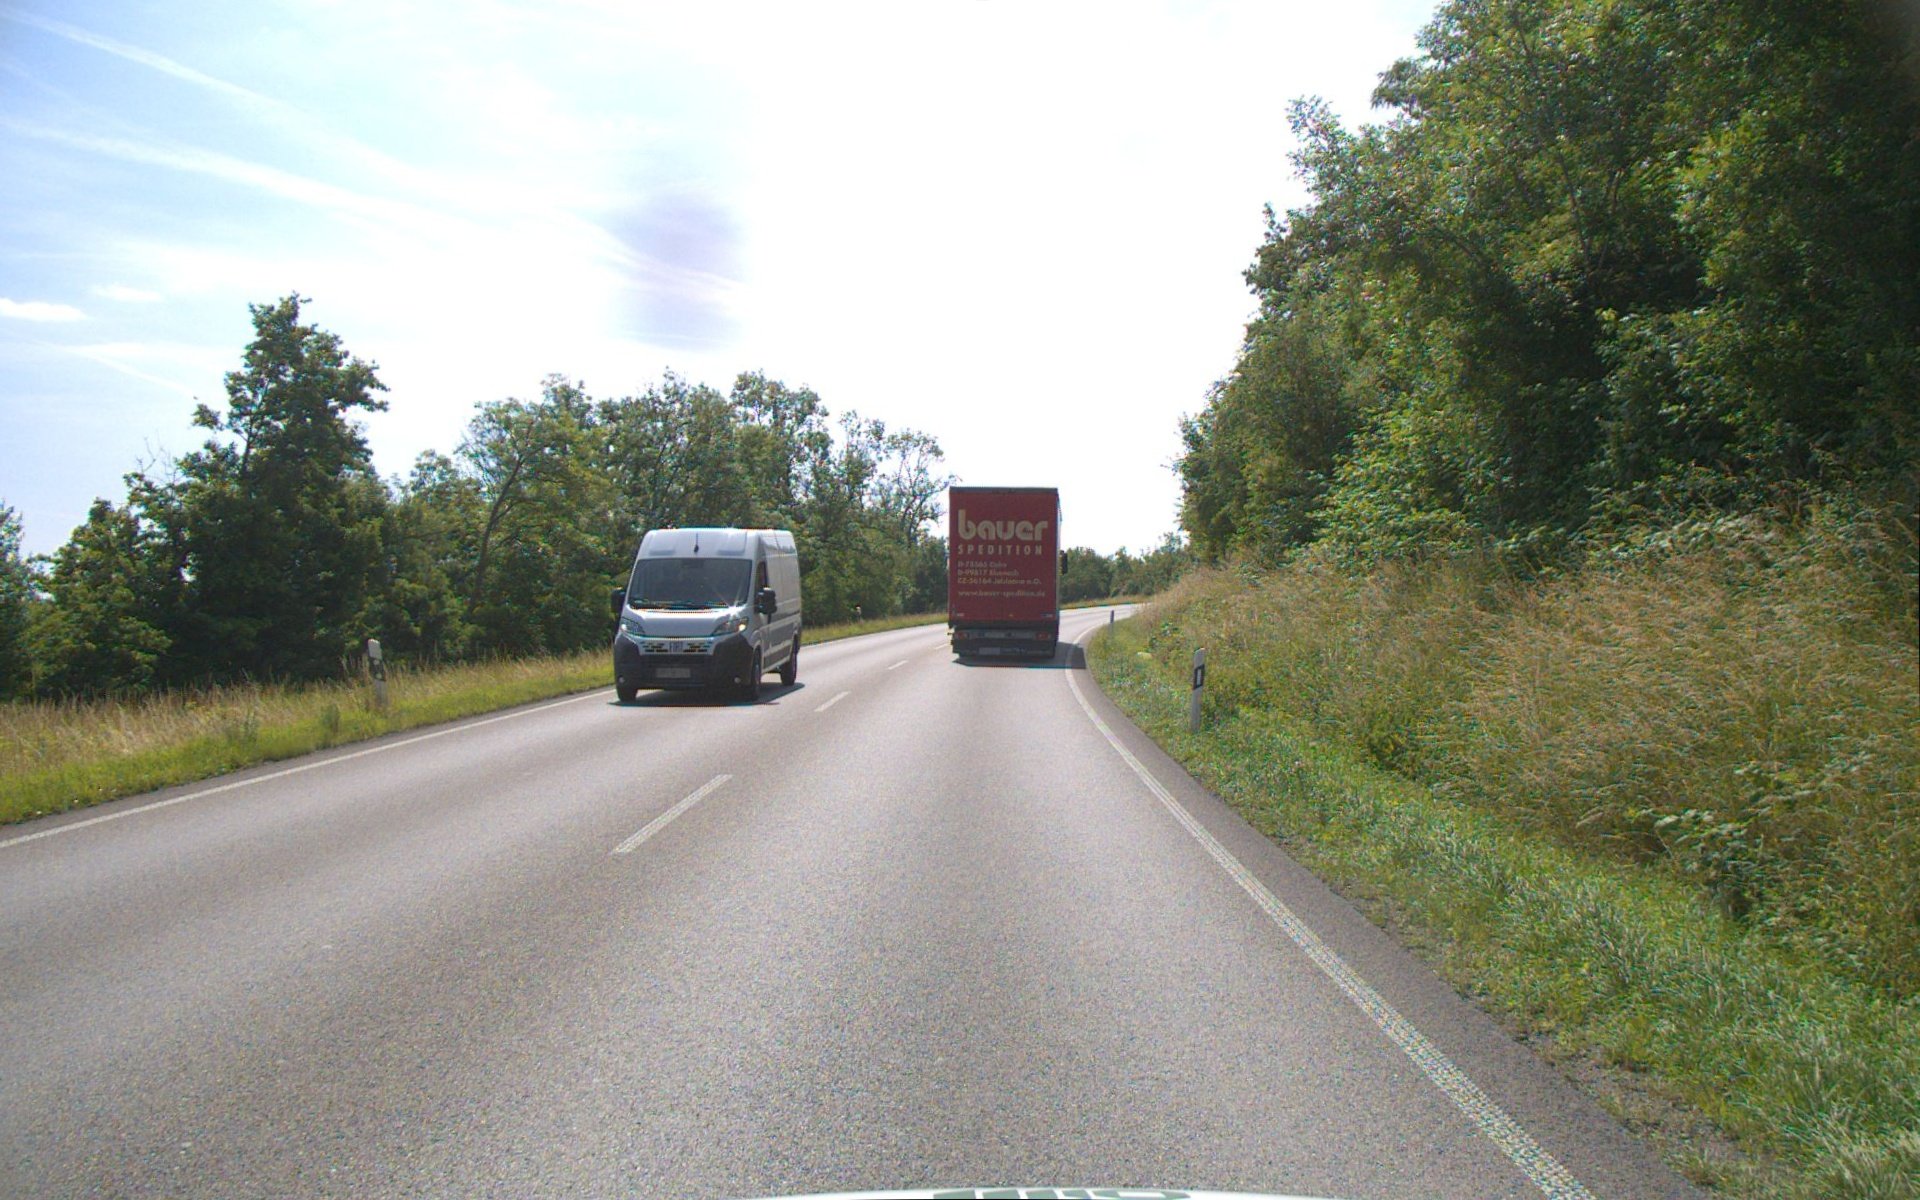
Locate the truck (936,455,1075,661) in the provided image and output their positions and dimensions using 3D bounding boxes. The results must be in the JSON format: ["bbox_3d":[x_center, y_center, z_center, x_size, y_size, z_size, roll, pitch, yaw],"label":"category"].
[{"bbox_3d":[1.169,-0.973,43.567,3.048,4.584,12.169,1,0,1],"label":"truck"}]

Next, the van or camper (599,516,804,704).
[{"bbox_3d":[-3.840,0.130,25.774,2.163,2.572,6.134,0,0,1],"label":"van or camper"}]
